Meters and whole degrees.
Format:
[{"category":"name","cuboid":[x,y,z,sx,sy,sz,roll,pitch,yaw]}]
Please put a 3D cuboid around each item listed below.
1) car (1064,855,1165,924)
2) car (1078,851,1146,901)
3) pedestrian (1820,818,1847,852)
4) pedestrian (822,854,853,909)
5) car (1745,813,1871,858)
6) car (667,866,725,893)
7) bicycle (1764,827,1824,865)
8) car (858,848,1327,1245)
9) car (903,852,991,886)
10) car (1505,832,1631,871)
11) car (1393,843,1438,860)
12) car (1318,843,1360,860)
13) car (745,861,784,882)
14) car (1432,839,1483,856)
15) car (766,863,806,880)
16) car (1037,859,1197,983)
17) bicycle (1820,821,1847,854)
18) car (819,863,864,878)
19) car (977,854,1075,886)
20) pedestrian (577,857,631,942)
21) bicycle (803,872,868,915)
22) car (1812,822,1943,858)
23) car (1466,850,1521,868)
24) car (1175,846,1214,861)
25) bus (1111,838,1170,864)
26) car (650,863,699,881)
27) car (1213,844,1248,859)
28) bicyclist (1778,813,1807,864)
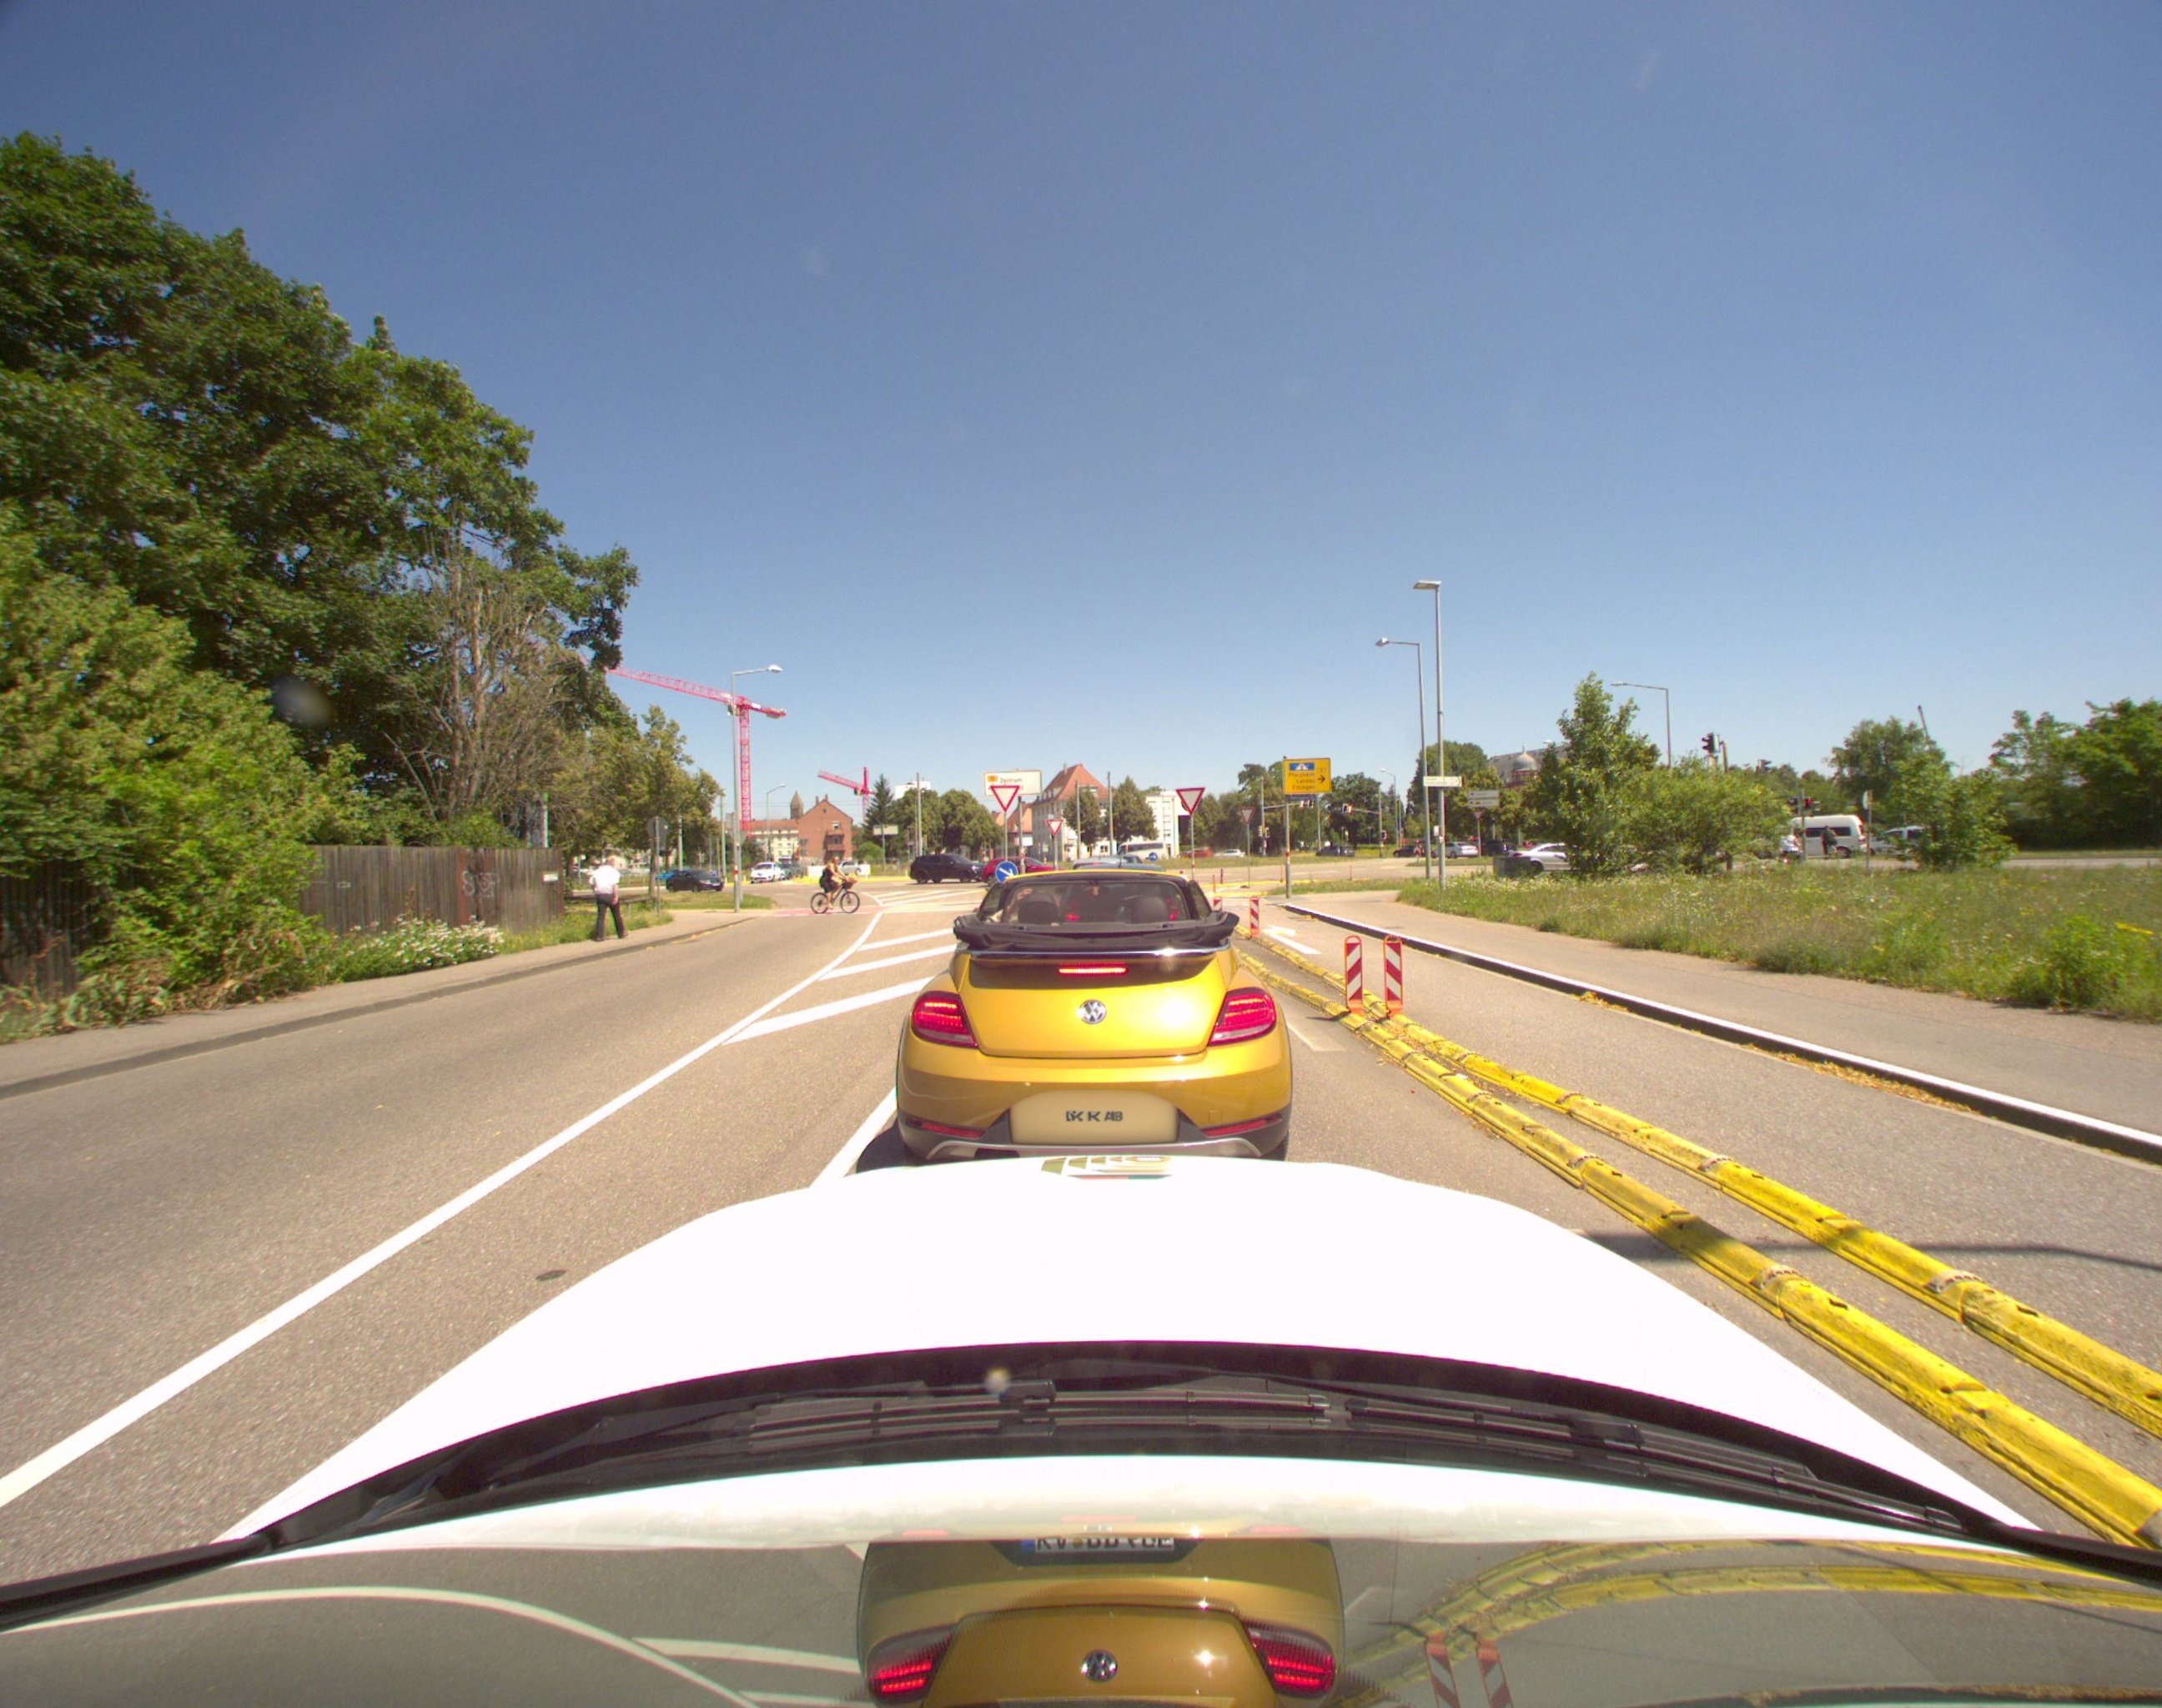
[{"category":"car","cuboid":[0.754,0.744,18.748,2.057,1.382,4.259,0,-1,2]},{"category":"car","cuboid":[1.043,0.674,27.639,2.057,1.481,4.545,-2,0,2]},{"category":"pedestrian","cuboid":[37.909,-0.949,41.035,0.959,1.660,0.892,-1,-1,44]},{"category":"pedestrian","cuboid":[-7.542,0.845,25.248,0.728,1.691,0.577,-1,-1,11]},{"category":"car","cuboid":[41.342,-0.974,46.428,5.261,2.397,2.006,-1,-1,43]},{"category":"car","cuboid":[-23.968,1.551,50.658,4.288,1.552,1.739,-1,1,42]},{"category":"bicycle","cuboid":[25.877,-0.279,29.536,2.902,1.353,0.635,0,-1,-28]},{"category":"car","cuboid":[0.106,0.743,5.195,1.758,1.481,4.259,0,-1,2]},{"category":"car","cuboid":[-7.580,0.833,46.218,4.368,1.594,2.011,-2,6,19]},{"category":"car","cuboid":[21.195,-0.098,35.659,4.368,1.527,2.010,-2,0,20]},{"category":"car","cuboid":[36.345,-0.276,88.576,1.853,1.736,4.404,0,-1,-28]},{"category":"car","cuboid":[27.680,-0.222,87.412,1.851,1.736,4.409,0,-1,-24]},{"category":"car","cuboid":[-24.838,1.349,63.957,1.773,1.527,3.866,-2,0,-5]},{"category":"car","cuboid":[32.365,-0.522,70.137,1.748,1.371,4.312,0,-1,-13]},{"category":"car","cuboid":[-25.167,1.499,69.592,1.740,1.371,4.332,0,-1,1]},{"category":"car","cuboid":[0.493,0.804,11.771,1.844,1.366,4.260,-2,0,2]},{"category":"bicycle","cuboid":[38.008,-0.821,41.144,0.972,1.597,2.900,-1,-1,43]},{"category":"car","cuboid":[-23.271,1.565,79.271,1.711,1.402,4.297,-1,-1,29]},{"category":"car","cuboid":[-2.695,0.777,40.237,4.374,1.527,2.007,-1,-1,14]},{"category":"pedestrian","cuboid":[-10.314,0.962,17.625,0.634,1.786,0.968,0,-1,-4]},{"category":"bicycle","cuboid":[-7.612,1.217,25.262,1.830,1.231,0.615,-3,-1,12]},{"category":"car","cuboid":[46.031,-0.743,47.168,2.004,1.962,5.266,0,-1,-40]},{"category":"car","cuboid":[36.913,0.447,72.967,1.880,1.614,4.305,0,-1,-17]},{"category":"car","cuboid":[13.870,-0.023,99.196,4.393,1.736,1.858,-1,-1,20]},{"category":"bus","cuboid":[7.616,-0.333,104.477,7.201,3.172,2.269,-1,-1,14]},{"category":"car","cuboid":[-41.000,1.826,82.179,3.989,1.772,1.869,0,-1,-12]},{"category":"car","cuboid":[18.597,-0.265,101.141,3.951,1.772,1.797,-1,-1,25]},{"category":"bicyclist","cuboid":[25.765,-0.550,29.499,0.573,1.841,0.603,0,-1,-29]}]
